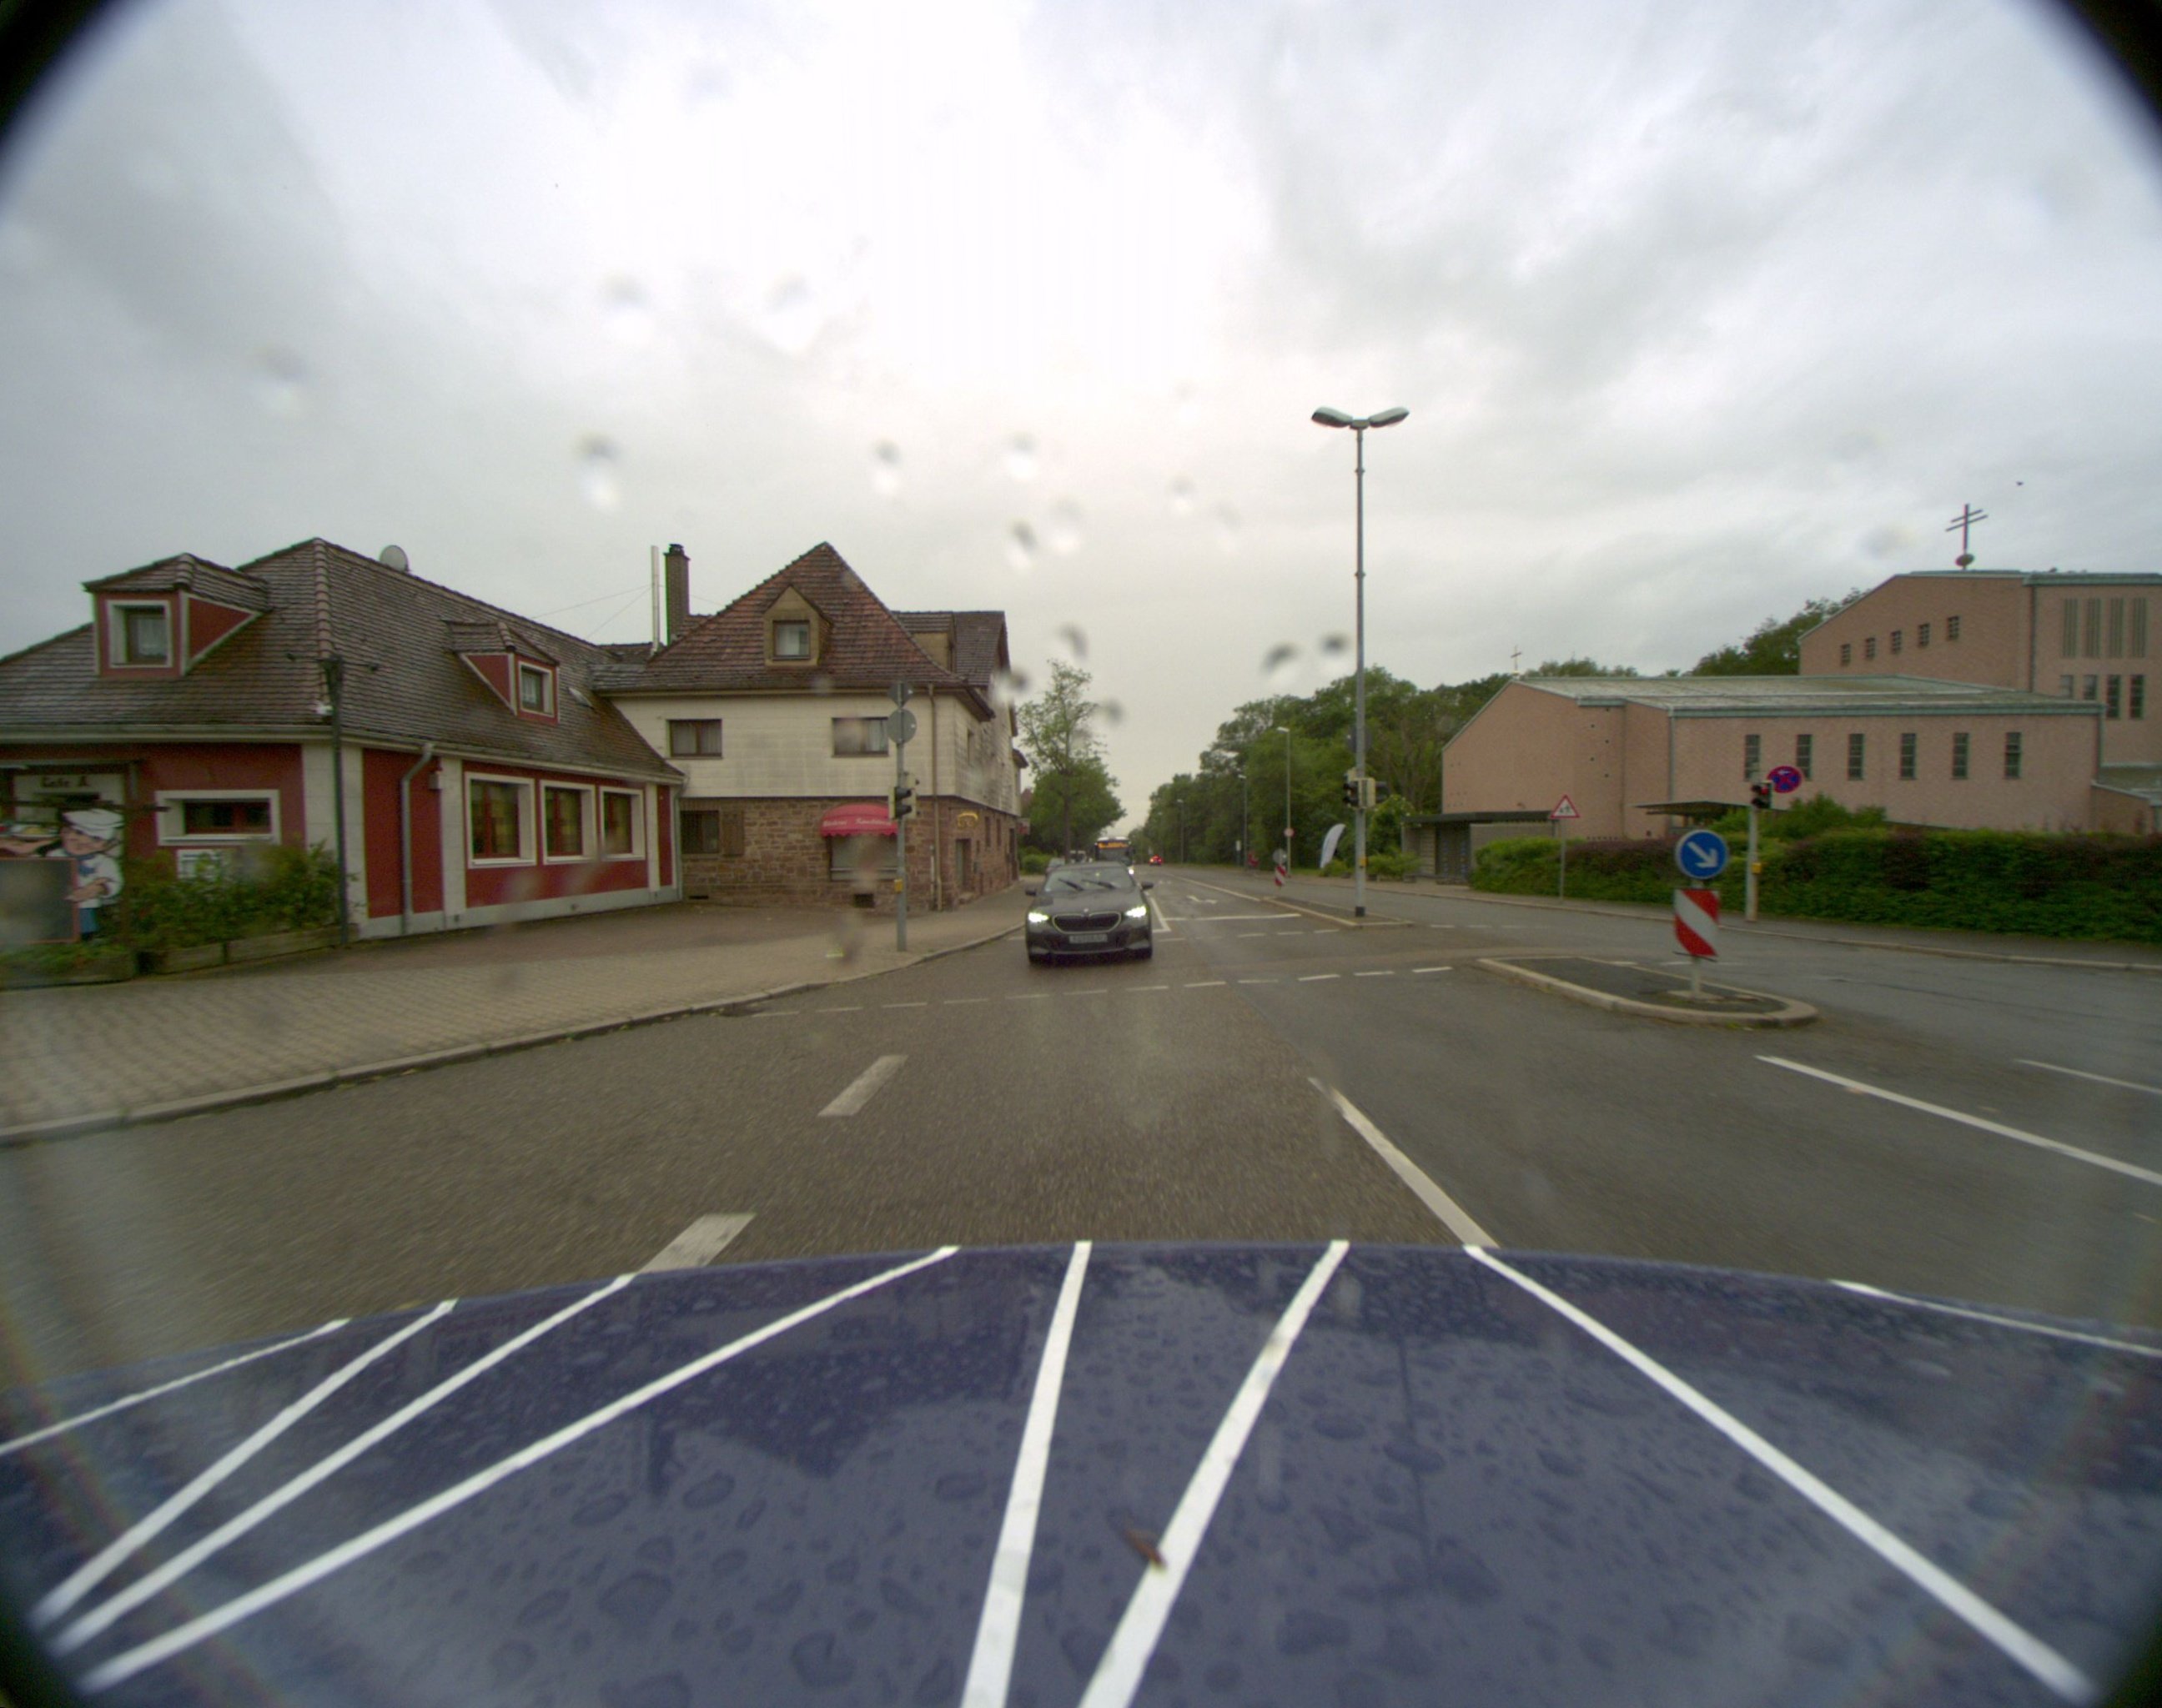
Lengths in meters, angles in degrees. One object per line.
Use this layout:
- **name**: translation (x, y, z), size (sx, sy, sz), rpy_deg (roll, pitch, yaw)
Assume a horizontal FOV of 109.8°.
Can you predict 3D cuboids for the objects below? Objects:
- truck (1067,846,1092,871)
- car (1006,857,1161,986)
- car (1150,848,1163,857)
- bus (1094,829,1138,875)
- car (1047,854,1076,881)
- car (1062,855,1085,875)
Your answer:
- **truck**: translation (-0.095, 0.441, 70.210), size (1.998, 2.184, 5.757), rpy_deg (0, 0, 4)
- **car**: translation (0.137, 0.863, 11.752), size (1.882, 1.520, 4.317), rpy_deg (-3, 0, 3)
- **car**: translation (13.682, -0.220, 137.653), size (1.913, 1.581, 4.317), rpy_deg (-1, 0, 0)
- **bus**: translation (2.579, -0.164, 53.925), size (2.767, 2.858, 9.405), rpy_deg (-3, 0, 4)
- **car**: translation (-1.130, 0.815, 45.348), size (1.614, 1.494, 3.757), rpy_deg (-3, -1, 0)
- **car**: translation (-0.583, 0.842, 60.812), size (1.720, 1.455, 4.000), rpy_deg (1, 1, 1)
